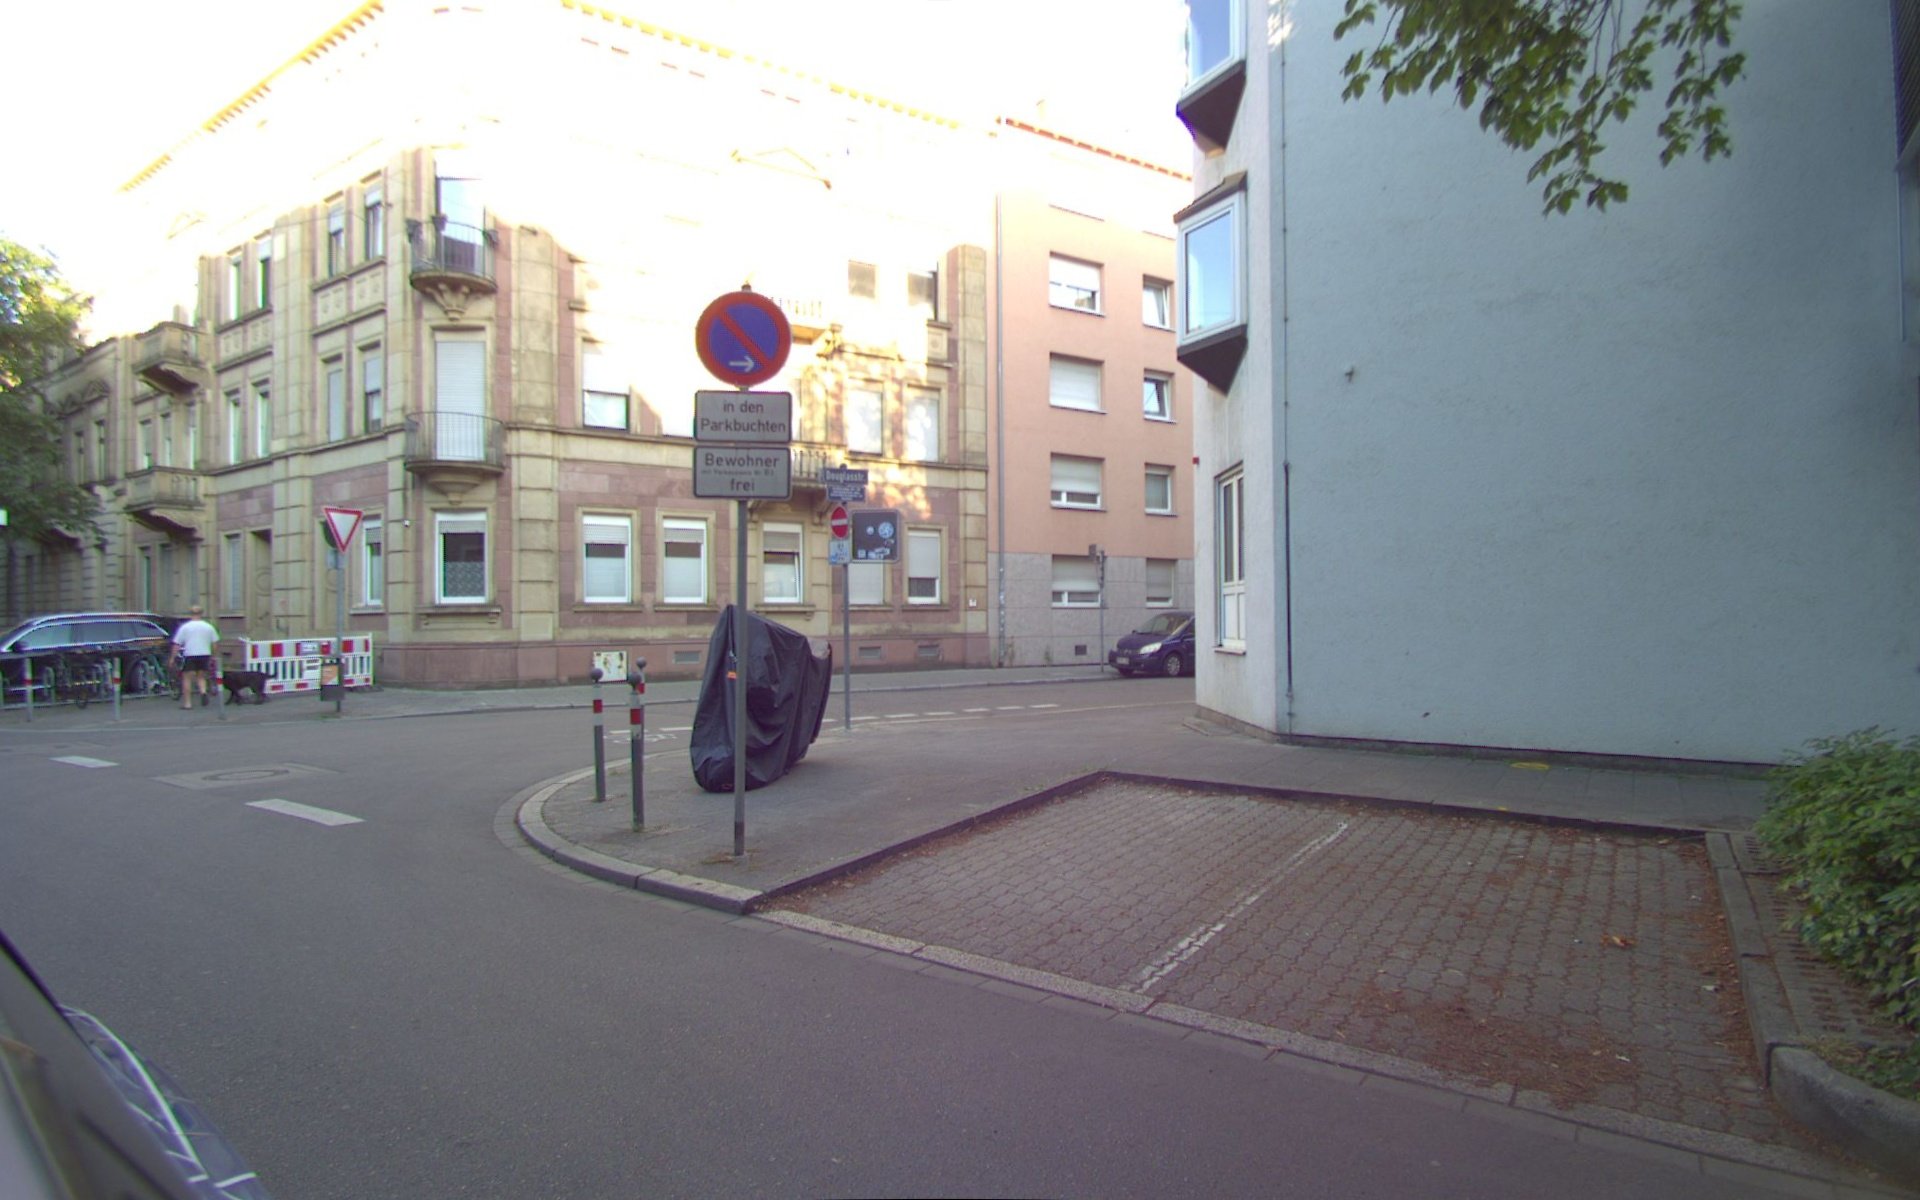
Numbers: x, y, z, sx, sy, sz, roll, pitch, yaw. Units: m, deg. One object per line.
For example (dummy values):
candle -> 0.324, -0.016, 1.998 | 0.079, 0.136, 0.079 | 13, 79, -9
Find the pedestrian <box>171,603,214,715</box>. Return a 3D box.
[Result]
pedestrian -> -12.834, 0.963, 16.934 | 0.564, 1.821, 0.653 | 0, -1, -37

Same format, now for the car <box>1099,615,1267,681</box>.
car -> 5.742, 1.171, 25.851 | 4.297, 1.529, 1.789 | 1, -2, -36

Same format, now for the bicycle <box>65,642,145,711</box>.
bicycle -> -15.267, 1.332, 18.052 | 2.034, 1.159, 0.555 | -1, -1, 34

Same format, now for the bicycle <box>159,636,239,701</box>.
bicycle -> -14.442, 1.274, 19.183 | 2.033, 1.159, 0.556 | -1, -1, 33

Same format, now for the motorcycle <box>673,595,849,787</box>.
motorcycle -> -1.722, 0.747, 9.201 | 0.809, 1.516, 2.276 | -1, -1, 10

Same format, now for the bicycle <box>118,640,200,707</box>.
bicycle -> -14.796, 1.335, 18.680 | 2.033, 1.159, 0.556 | -1, -1, 33

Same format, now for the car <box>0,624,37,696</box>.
car -> -24.301, 1.418, 23.391 | 1.740, 1.690, 4.190 | -1, -2, 39

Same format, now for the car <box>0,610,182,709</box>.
car -> -17.906, 1.110, 19.470 | 1.740, 1.795, 4.368 | -1, -2, 38

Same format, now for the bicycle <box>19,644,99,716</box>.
bicycle -> -15.620, 1.356, 17.522 | 2.034, 1.159, 0.555 | -1, -1, 34
